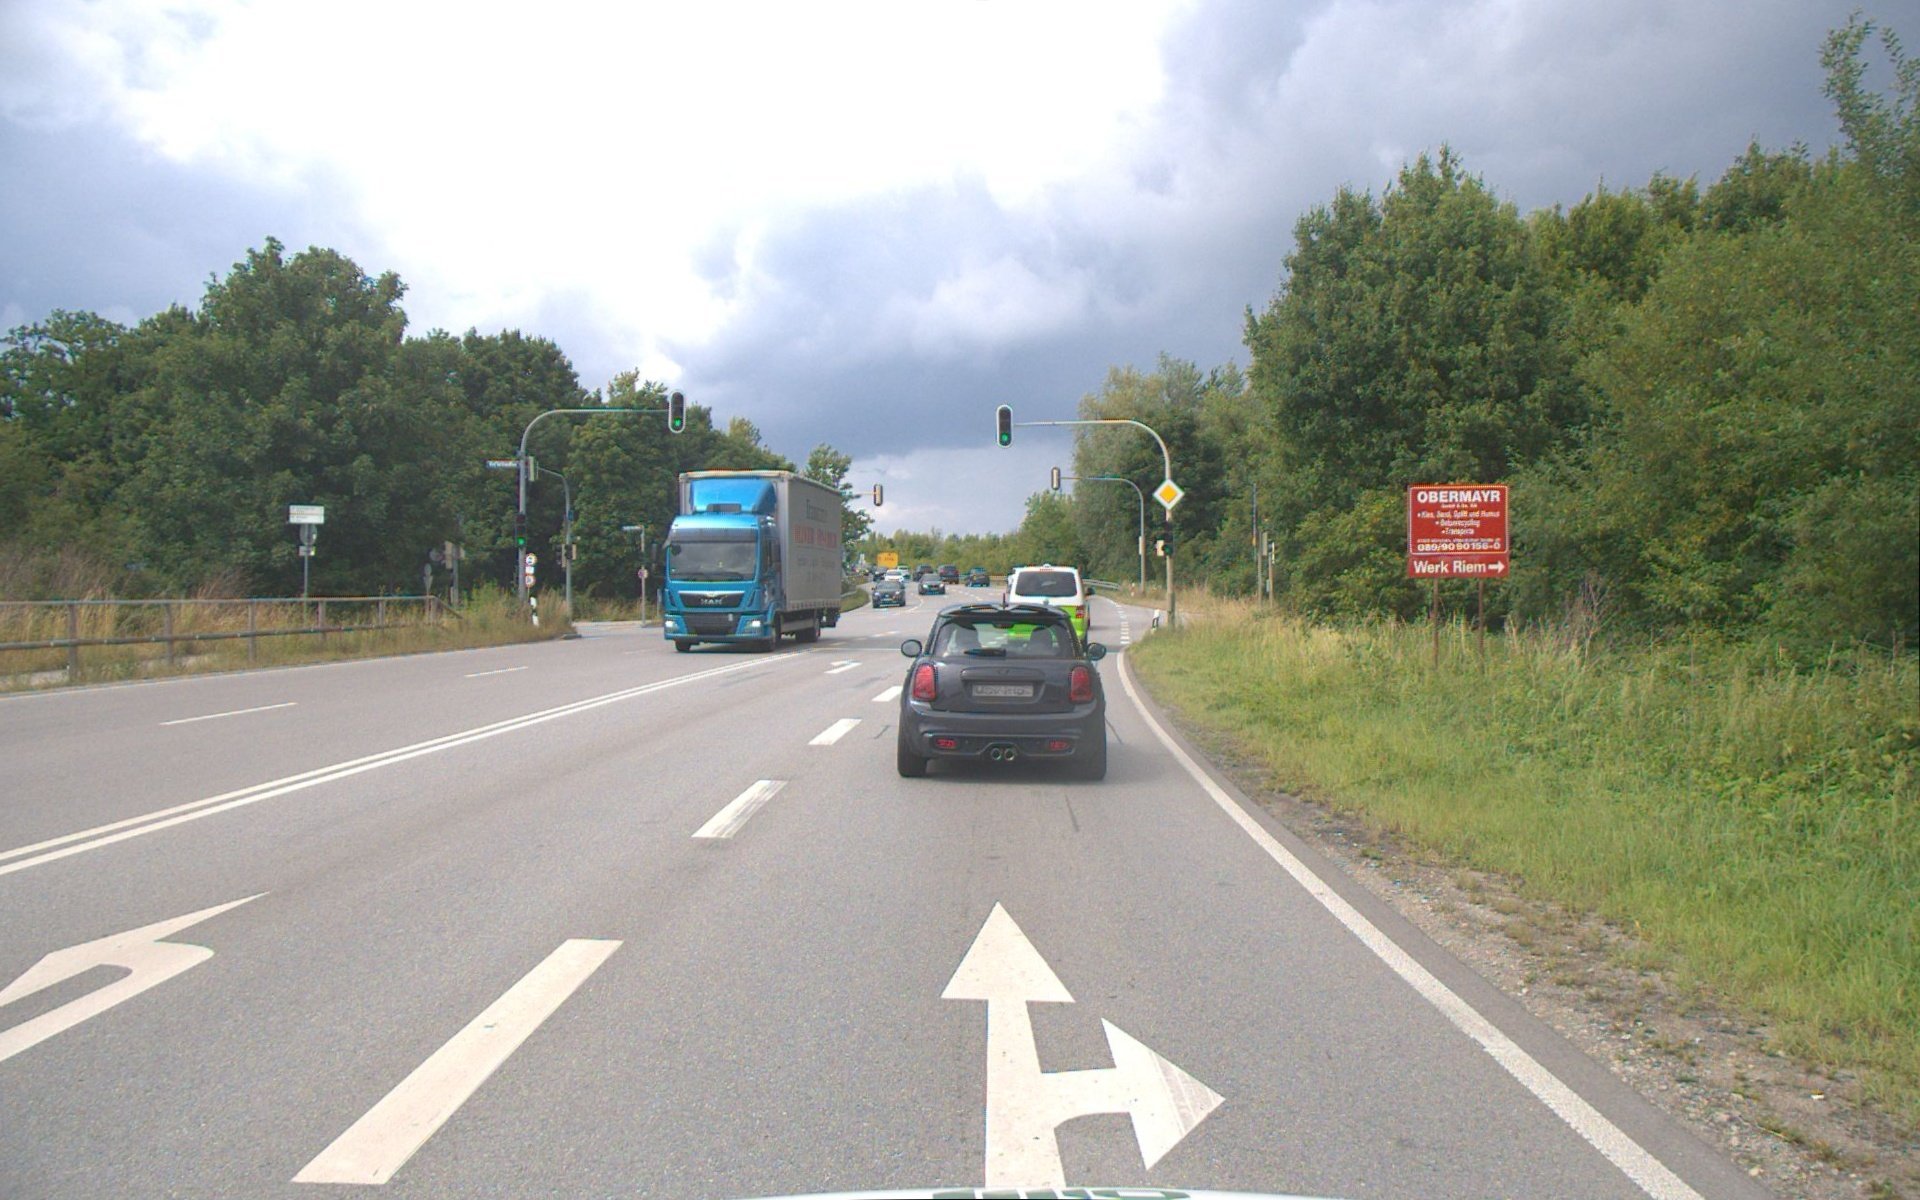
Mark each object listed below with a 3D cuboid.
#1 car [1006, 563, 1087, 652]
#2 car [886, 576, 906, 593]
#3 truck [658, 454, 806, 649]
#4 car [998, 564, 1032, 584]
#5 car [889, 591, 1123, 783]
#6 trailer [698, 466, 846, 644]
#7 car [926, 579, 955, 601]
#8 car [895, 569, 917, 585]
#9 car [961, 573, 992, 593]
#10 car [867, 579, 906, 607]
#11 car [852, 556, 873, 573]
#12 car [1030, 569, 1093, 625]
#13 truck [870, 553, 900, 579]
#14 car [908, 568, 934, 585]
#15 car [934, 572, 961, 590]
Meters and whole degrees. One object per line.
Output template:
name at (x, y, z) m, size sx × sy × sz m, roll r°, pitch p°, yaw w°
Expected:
car at (2.117, 0.127, 39.587) m, size 1.806 × 2.021 × 3.844 m, roll 0°, pitch 1°, yaw 5°
car at (-5.736, -1.392, 148.710) m, size 1.694 × 1.531 × 4.346 m, roll -1°, pitch 1°, yaw -1°
truck at (-5.083, -1.059, 37.534) m, size 2.486 × 4.168 × 4.003 m, roll 0°, pitch 0°, yaw 5°
car at (4.194, -2.007, 126.954) m, size 1.955 × 1.502 × 4.479 m, roll 0°, pitch 0°, yaw -7°
car at (0.362, 0.671, 14.810) m, size 1.807 × 1.453 × 3.841 m, roll 1°, pitch 1°, yaw 0°
trailer at (-4.671, -1.080, 42.331) m, size 2.474 × 4.172 × 6.739 m, roll 0°, pitch 0°, yaw 5°
car at (-1.462, -0.793, 124.939) m, size 1.751 × 1.556 × 4.905 m, roll -2°, pitch 0°, yaw 3°
car at (-6.384, -2.722, 196.074) m, size 1.958 × 1.818 × 4.473 m, roll 0°, pitch 0°, yaw -11°
car at (1.453, -1.468, 146.436) m, size 1.957 × 1.725 × 4.476 m, roll 0°, pitch 0°, yaw -9°
car at (-4.271, -0.407, 97.078) m, size 1.753 × 1.601 × 4.003 m, roll 0°, pitch 1°, yaw 5°
car at (-10.002, -3.688, 169.853) m, size 1.956 × 1.719 × 3.995 m, roll -1°, pitch 2°, yaw -7°
car at (3.267, -0.094, 53.688) m, size 1.952 × 1.713 × 4.001 m, roll 0°, pitch 0°, yaw 3°
truck at (-9.656, -4.317, 212.198) m, size 2.667 × 2.949 × 8.749 m, roll 1°, pitch -1°, yaw -10°
car at (-4.192, -2.513, 177.371) m, size 1.958 × 1.725 × 4.473 m, roll 0°, pitch 0°, yaw -11°
car at (-1.208, -1.833, 161.199) m, size 1.957 × 1.725 × 4.476 m, roll 0°, pitch 0°, yaw -9°
